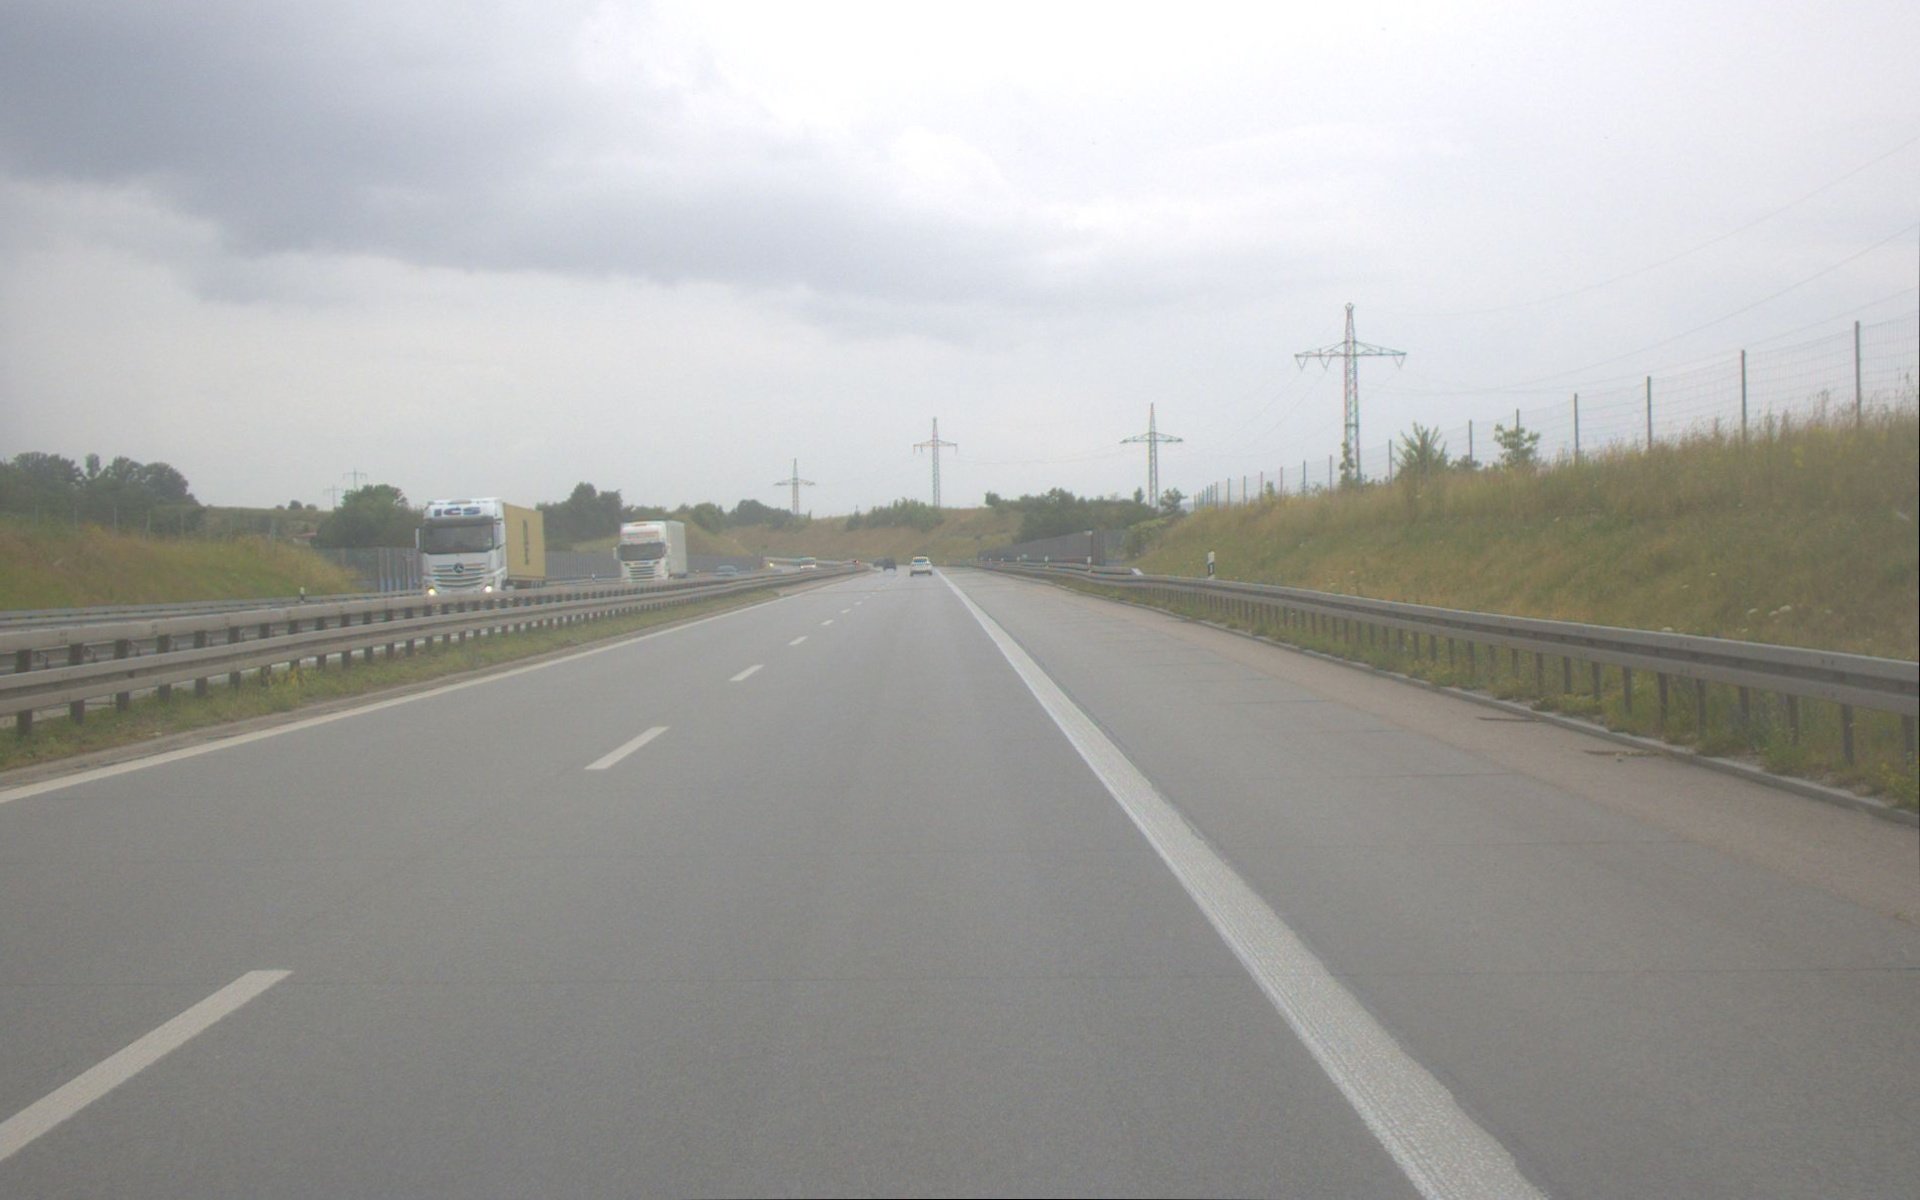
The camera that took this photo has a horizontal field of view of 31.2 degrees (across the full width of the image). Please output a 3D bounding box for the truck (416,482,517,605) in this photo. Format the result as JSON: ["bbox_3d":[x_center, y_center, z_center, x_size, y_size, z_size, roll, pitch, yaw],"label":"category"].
[{"bbox_3d":[-16.409,-1.886,114.583,2.592,3.912,5.588,-2,1,-2],"label":"truck"}]

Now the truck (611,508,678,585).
[{"bbox_3d":[-16.783,-2.845,183.242,2.952,3.912,5.518,-2,1,0],"label":"truck"}]
